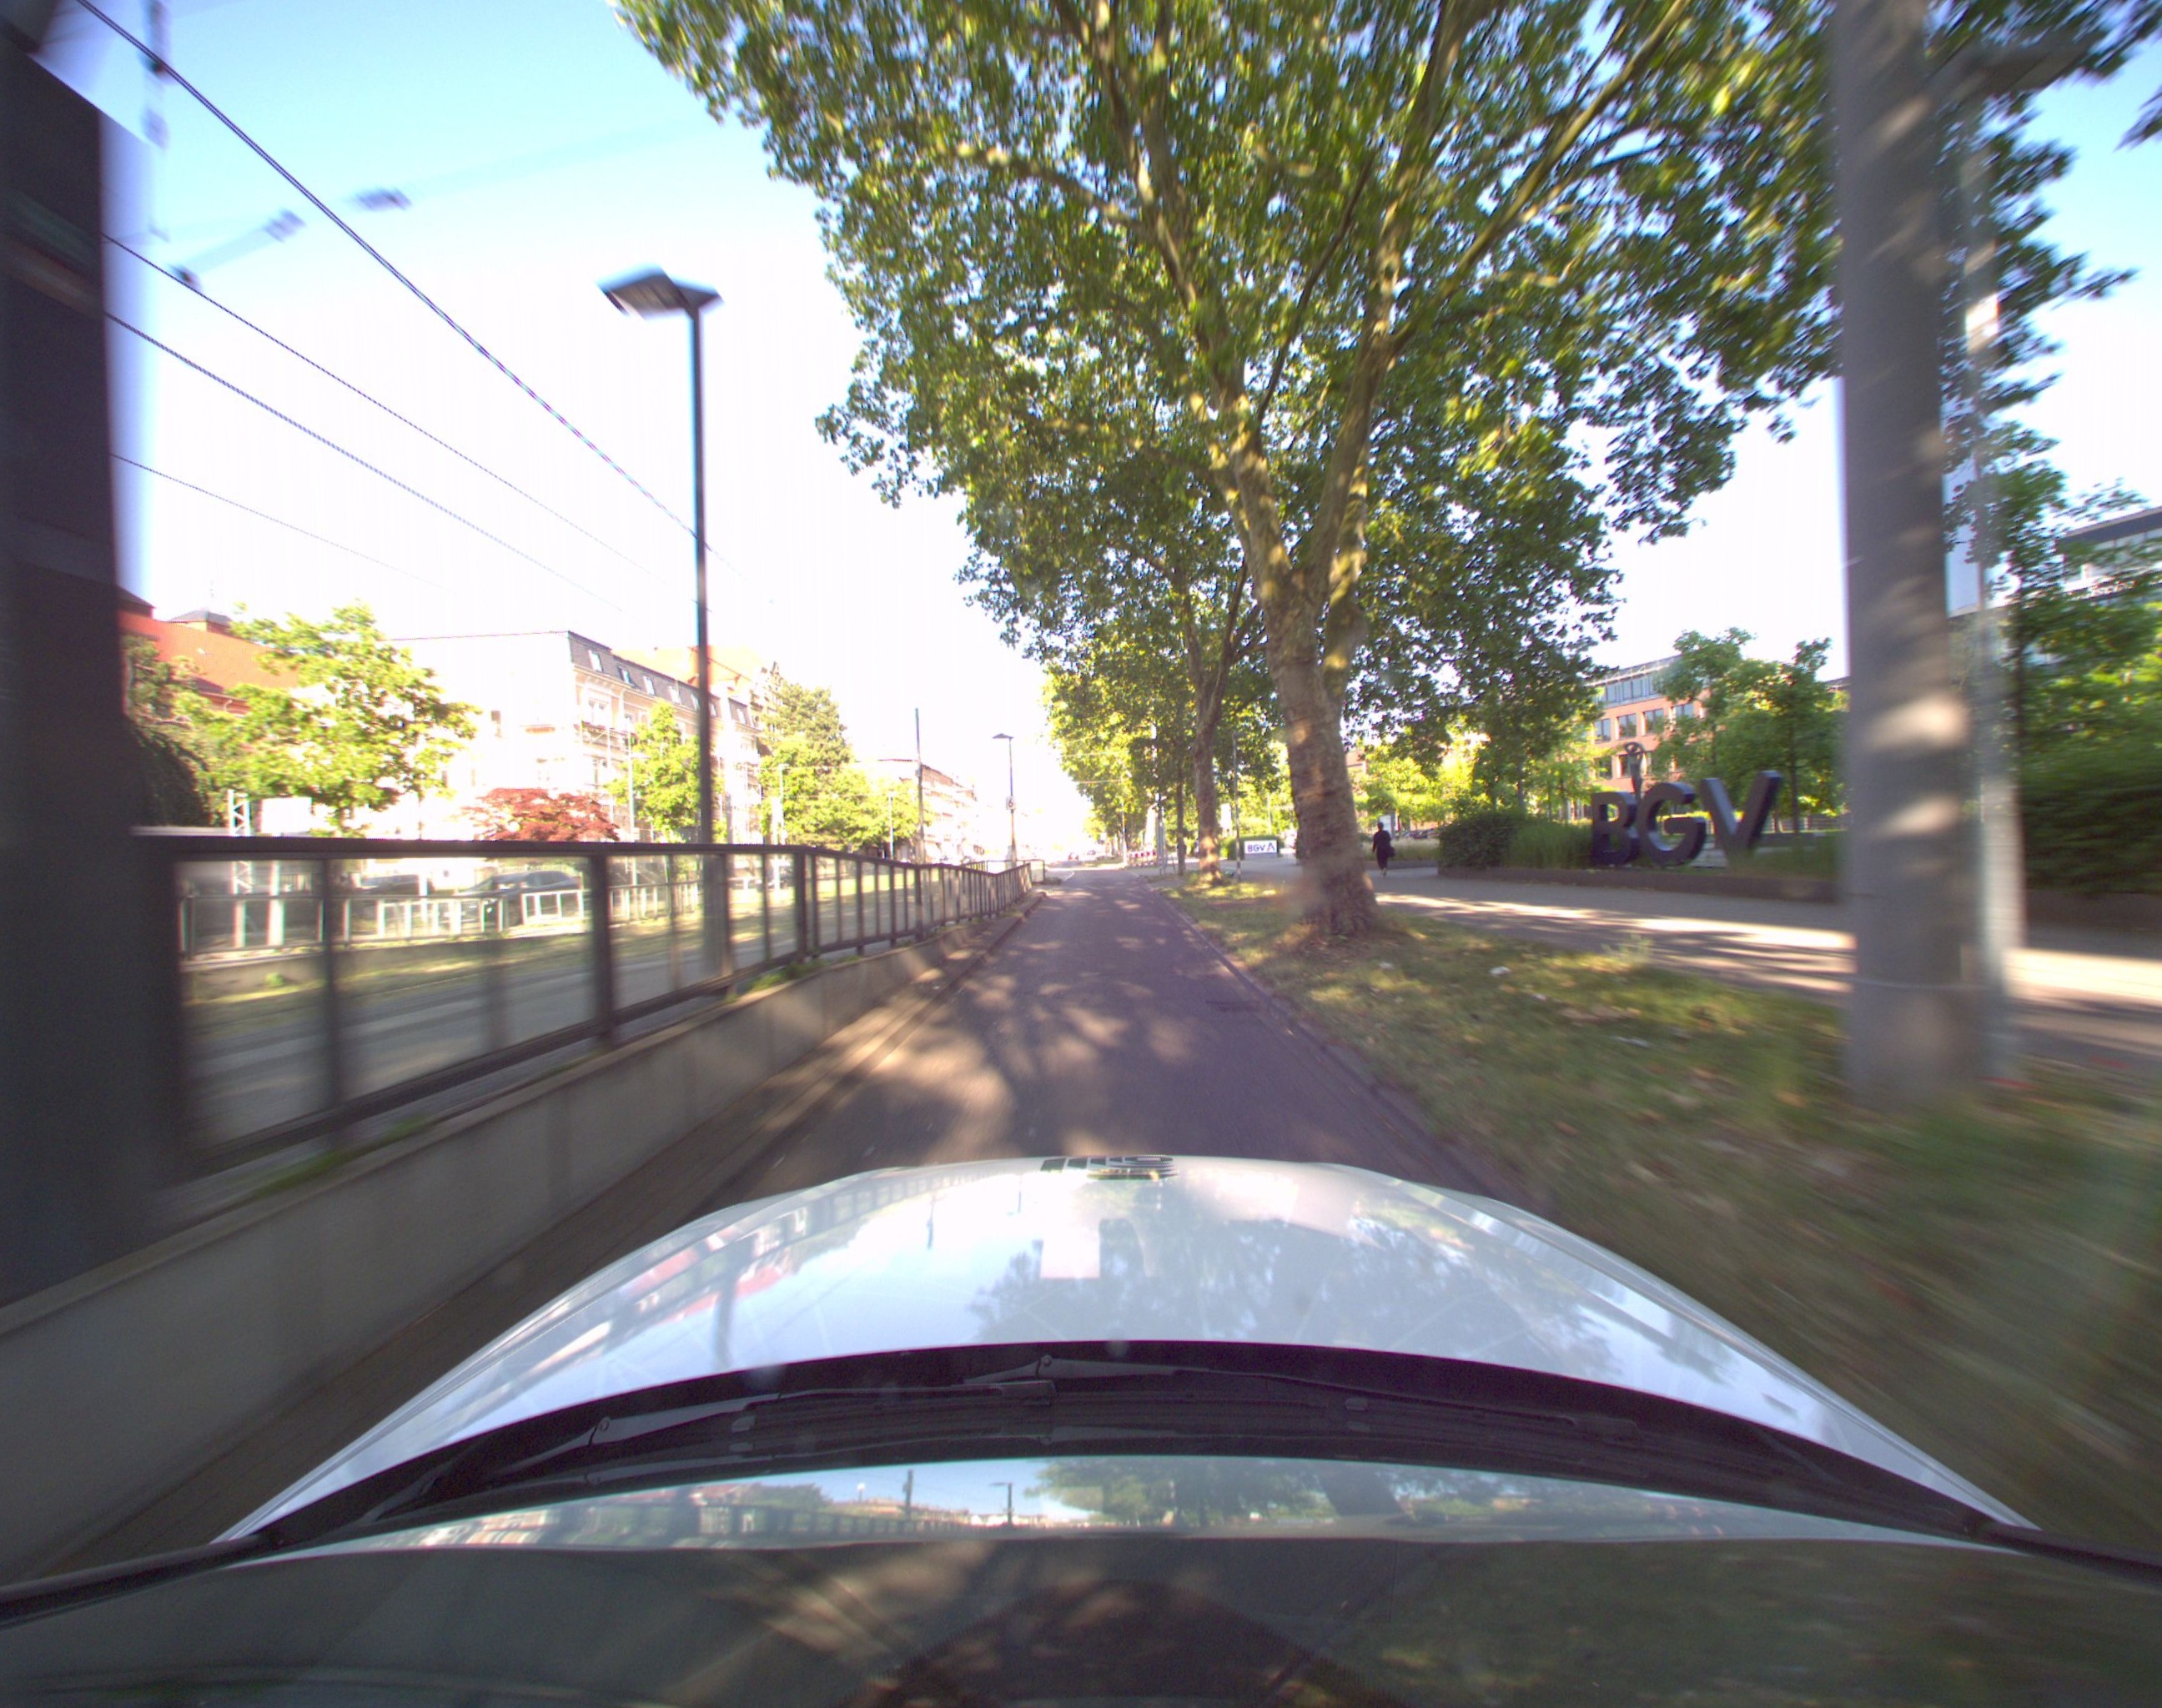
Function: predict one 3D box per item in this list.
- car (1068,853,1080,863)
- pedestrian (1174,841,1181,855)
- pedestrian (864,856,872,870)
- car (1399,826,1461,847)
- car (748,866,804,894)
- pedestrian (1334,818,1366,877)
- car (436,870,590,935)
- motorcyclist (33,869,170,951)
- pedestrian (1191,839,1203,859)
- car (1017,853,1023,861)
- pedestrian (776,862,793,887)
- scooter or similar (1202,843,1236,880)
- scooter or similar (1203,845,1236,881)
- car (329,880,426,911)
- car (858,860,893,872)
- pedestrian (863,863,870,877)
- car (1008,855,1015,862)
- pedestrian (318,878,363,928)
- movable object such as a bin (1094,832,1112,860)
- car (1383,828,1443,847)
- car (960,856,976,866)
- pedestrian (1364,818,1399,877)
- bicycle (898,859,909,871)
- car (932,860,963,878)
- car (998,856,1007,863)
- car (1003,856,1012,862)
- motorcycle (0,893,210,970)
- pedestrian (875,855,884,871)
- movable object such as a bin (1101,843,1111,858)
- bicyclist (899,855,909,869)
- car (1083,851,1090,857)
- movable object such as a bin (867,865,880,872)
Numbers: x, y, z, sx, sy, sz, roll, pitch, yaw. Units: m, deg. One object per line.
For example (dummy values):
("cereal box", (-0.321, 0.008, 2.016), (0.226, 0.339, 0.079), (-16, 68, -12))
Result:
("car", (-1.150, 0.658, 138.472), (1.986, 1.684, 4.001), (-1, 0, 1))
("pedestrian", (10.990, -0.728, 93.025), (0.647, 1.539, 0.783), (-4, 0, 1))
("pedestrian", (-24.239, 1.051, 92.780), (0.648, 1.539, 0.783), (-4, 0, 0))
("car", (29.582, -1.465, 68.984), (4.684, 1.466, 1.951), (-4, 1, -18))
("car", (-17.095, 1.430, 45.780), (1.600, 1.407, 3.852), (-1, 0, 1))
("pedestrian", (7.880, -0.183, 23.872), (0.625, 1.656, 0.740), (-4, 0, 1))
("car", (-17.675, 1.440, 25.621), (1.856, 1.806, 4.031), (-1, 0, 3))
("motorcyclist", (-16.659, 0.928, 13.899), (0.816, 1.300, 1.275), (0, 0, -4))
("pedestrian", (10.495, -0.458, 73.743), (0.802, 1.793, 1.110), (-4, 0, 1))
("car", (-18.051, 0.844, 241.043), (1.652, 2.139, 3.526), (-1, 1, 1))
("pedestrian", (-23.313, 1.597, 64.068), (0.855, 1.928, 1.086), (-4, 0, 0))
("scooter or similar", (4.905, 0.275, 29.073), (1.047, 1.244, 0.842), (-3, 0, 3))
("scooter or similar", (5.078, 0.335, 29.963), (1.047, 1.244, 0.842), (-3, 0, 3))
("car", (-36.338, 2.106, 42.214), (1.600, 1.407, 3.852), (-1, 0, 1))
("car", (-26.765, 1.533, 106.191), (4.138, 1.471, 2.012), (-2, -1, 30))
("pedestrian", (-24.979, 1.829, 94.805), (0.616, 1.593, 0.797), (0, 0, -1))
("car", (-18.084, 1.170, 212.849), (1.521, 1.560, 3.224), (-1, 1, 1))
("pedestrian", (-25.709, 1.705, 28.295), (0.723, 1.647, 0.811), (-4, 0, -5))
("movable object such as a bin", (4.299, -1.591, 159.694), (3.077, 5.088, 8.893), (-5, 0, 1))
("car", (29.111, -1.429, 71.375), (4.684, 1.383, 1.962), (-4, 1, -18))
("car", (-20.228, 1.251, 145.838), (2.008, 1.754, 4.559), (-1, 1, 1))
("pedestrian", (8.788, -0.179, 23.819), (0.647, 1.656, 0.783), (-4, 0, 1))
("bicycle", (-19.242, 1.200, 88.354), (0.772, 1.193, 1.756), (-1, 0, 1))
("car", (-16.138, 1.829, 98.937), (1.926, 1.918, 4.487), (8, -1, 13))
("car", (-18.891, 1.215, 196.014), (1.735, 1.560, 3.768), (-1, 1, 1))
("car", (-18.181, 1.205, 200.768), (1.735, 1.560, 3.768), (-1, 1, 1))
("motorcycle", (-16.672, 1.281, 14.047), (0.816, 1.073, 2.399), (0, 0, -3))
("pedestrian", (-22.844, 1.064, 92.387), (0.648, 1.775, 0.888), (-4, 0, 0))
("movable object such as a bin", (5.604, -0.813, 181.847), (1.961, 3.013, 4.797), (-5, 0, 1))
("bicyclist", (-19.232, 0.839, 88.452), (0.772, 1.481, 1.134), (-1, 0, 1))
("car", (1.819, 0.074, 258.869), (1.990, 1.860, 3.993), (0, 0, -5))
("movable object such as a bin", (-24.444, 1.732, 96.020), (1.241, 0.865, 1.236), (-1, 0, -1))
